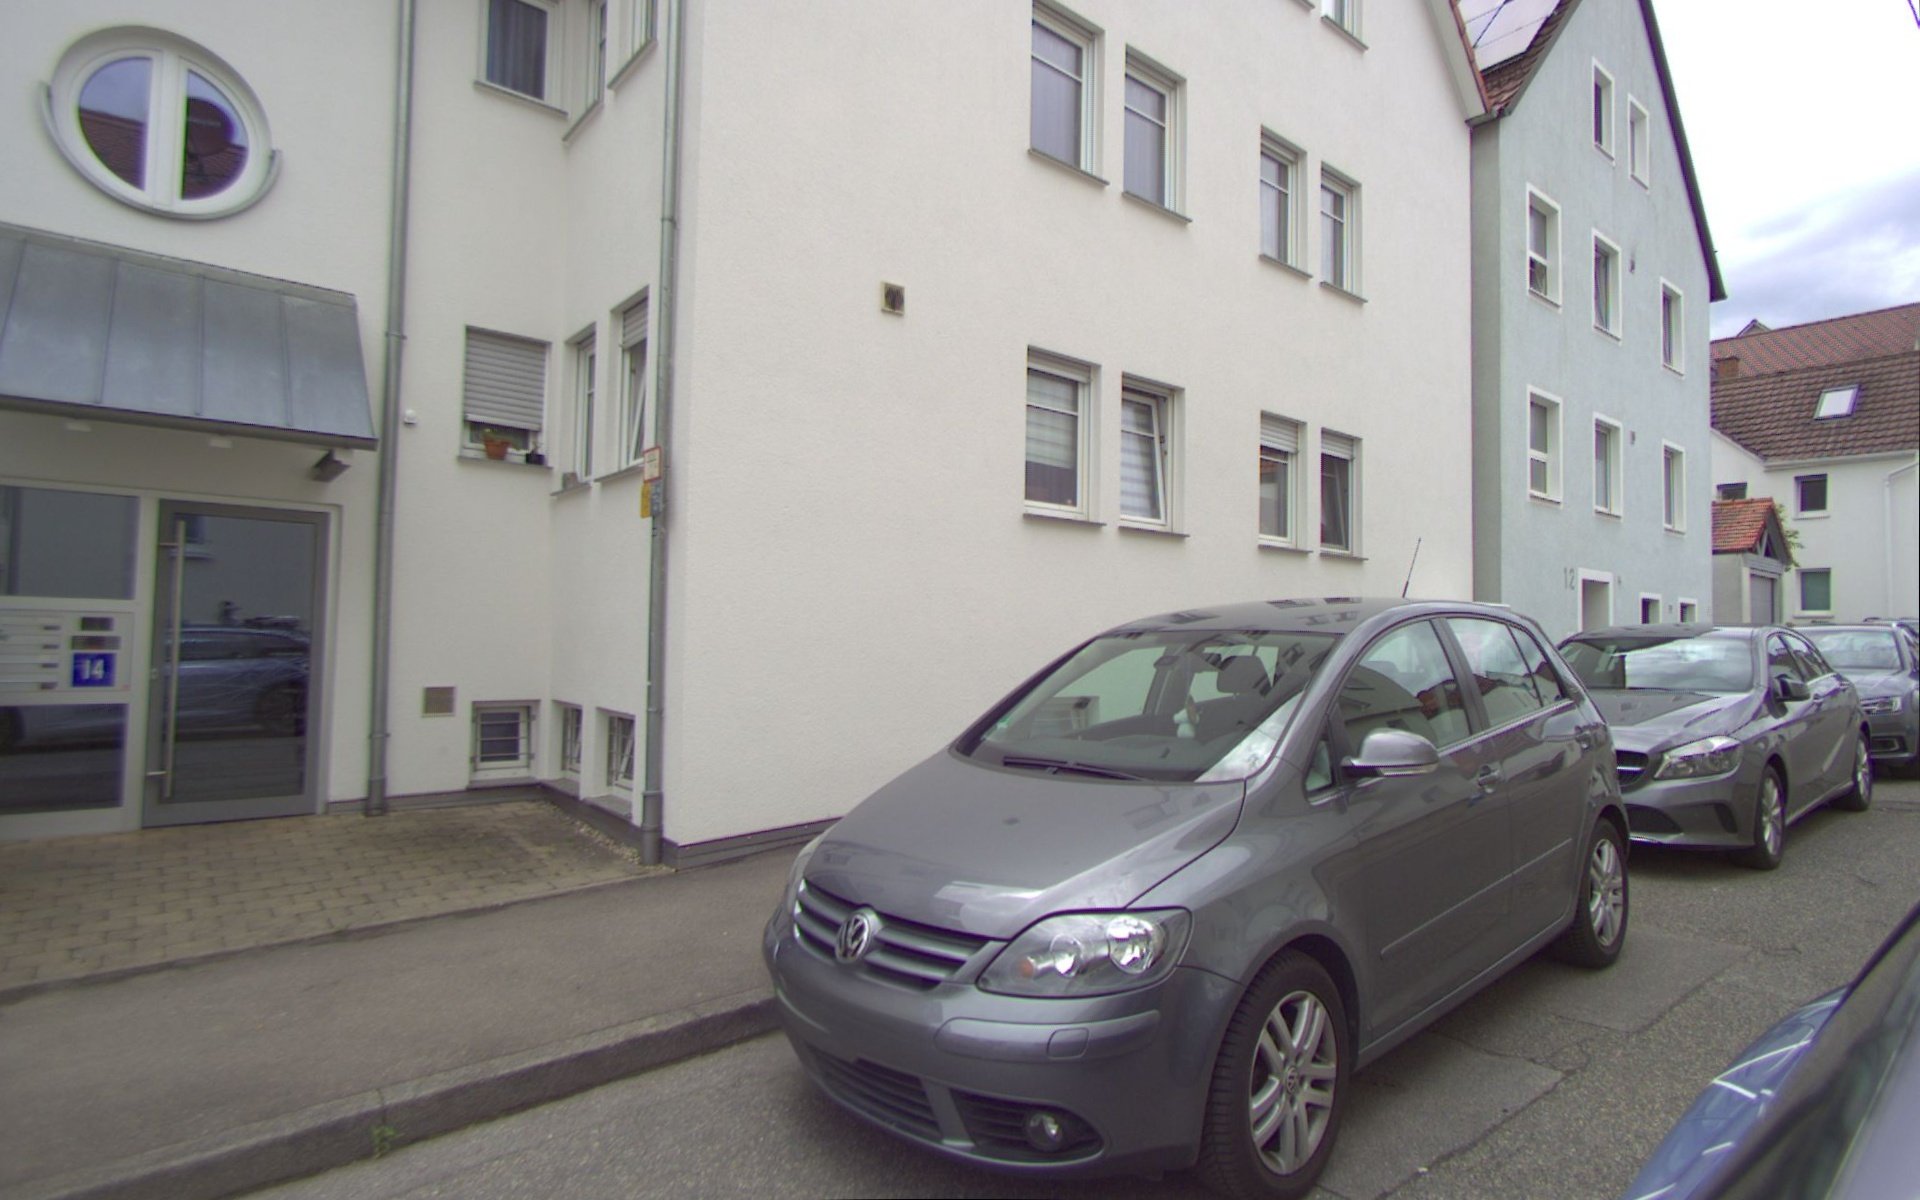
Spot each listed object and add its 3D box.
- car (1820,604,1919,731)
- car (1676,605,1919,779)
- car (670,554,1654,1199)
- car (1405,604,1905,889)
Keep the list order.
[{"bbox_3d":[12.957,0.855,13.430,3.771,1.532,1.642,2,-3,-39],"label":"car"},{"bbox_3d":[9.123,0.837,10.489,4.189,1.462,1.728,1,-3,-40],"label":"car"},{"bbox_3d":[1.071,0.736,3.914,3.841,1.584,1.737,0,-3,-42],"label":"car"},{"bbox_3d":[5.068,0.808,7.217,3.886,1.462,1.812,0,-3,-38],"label":"car"}]
